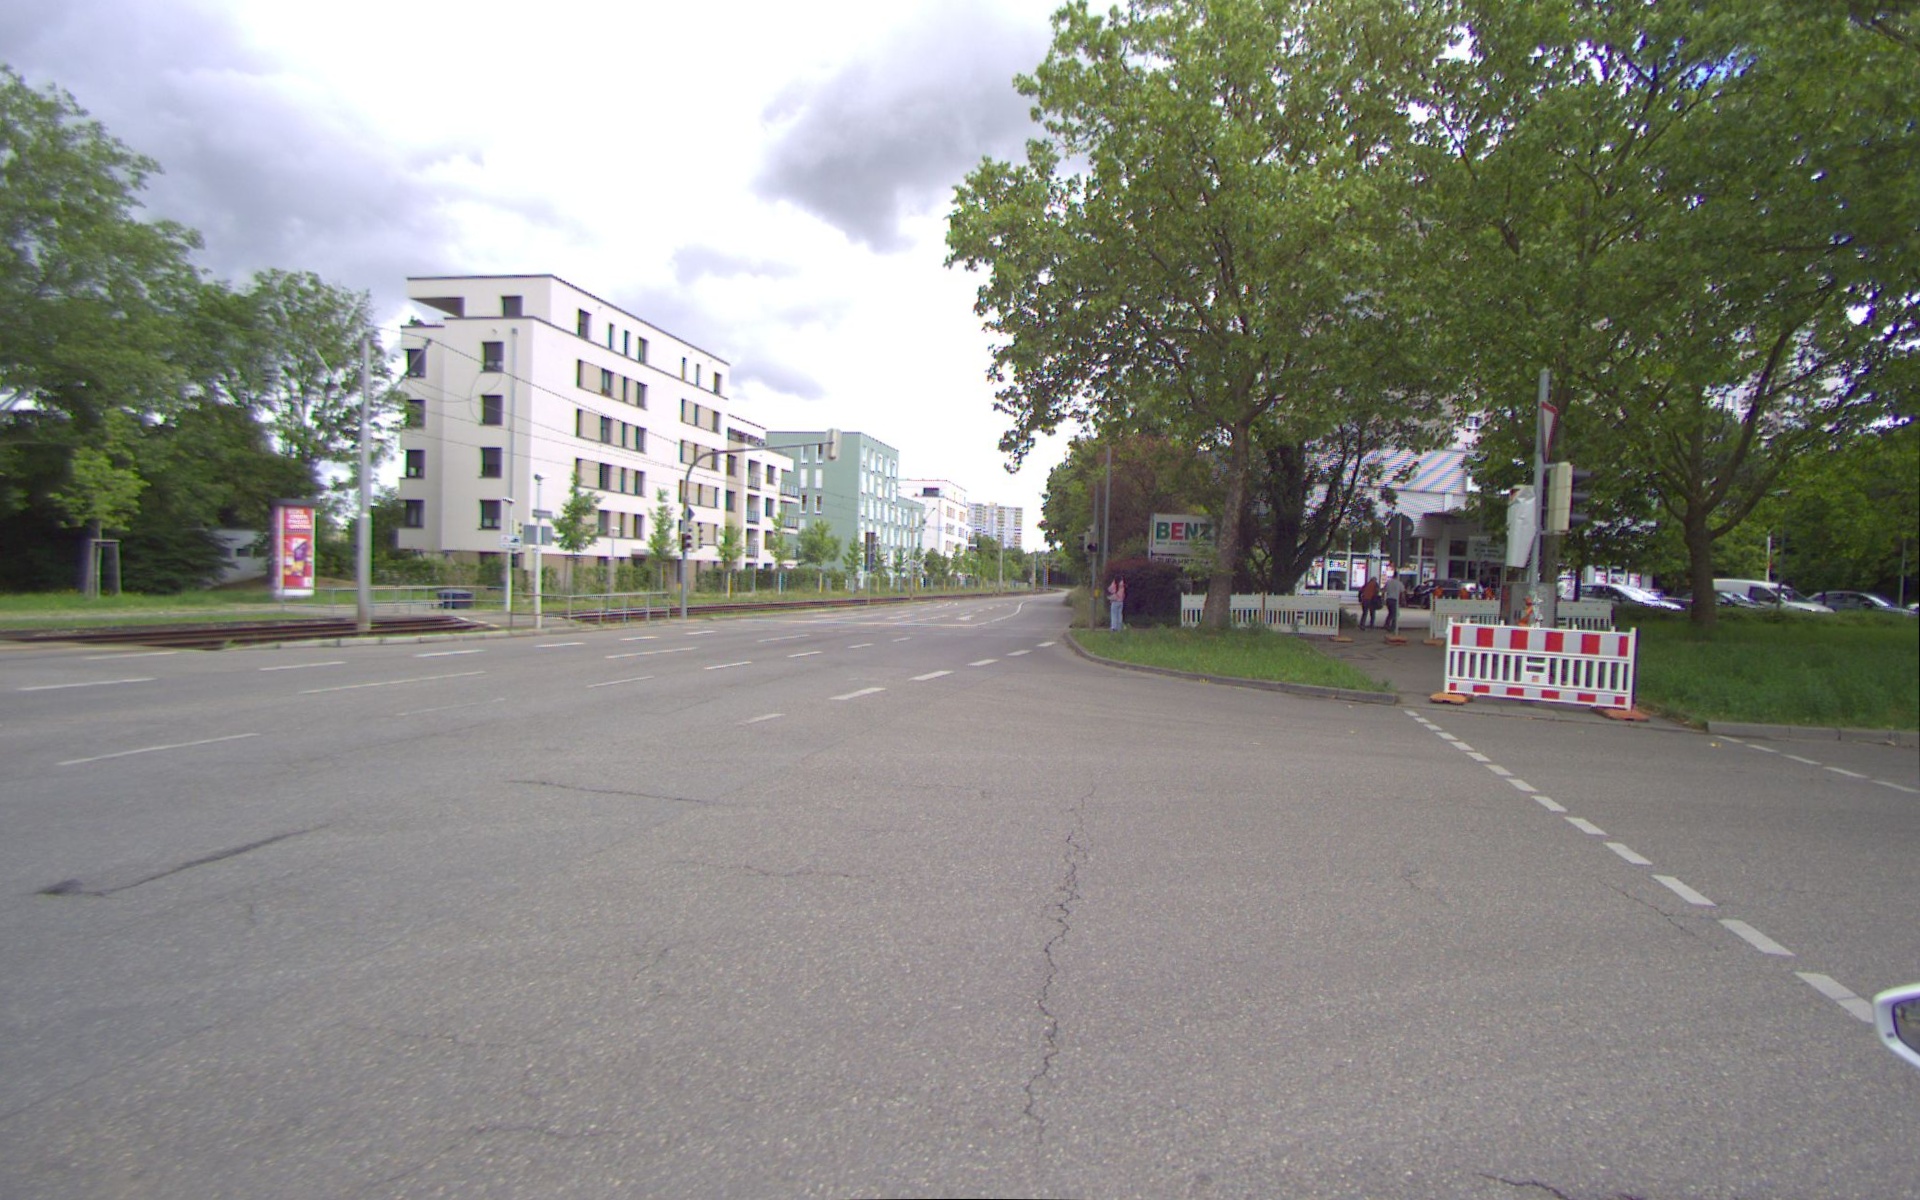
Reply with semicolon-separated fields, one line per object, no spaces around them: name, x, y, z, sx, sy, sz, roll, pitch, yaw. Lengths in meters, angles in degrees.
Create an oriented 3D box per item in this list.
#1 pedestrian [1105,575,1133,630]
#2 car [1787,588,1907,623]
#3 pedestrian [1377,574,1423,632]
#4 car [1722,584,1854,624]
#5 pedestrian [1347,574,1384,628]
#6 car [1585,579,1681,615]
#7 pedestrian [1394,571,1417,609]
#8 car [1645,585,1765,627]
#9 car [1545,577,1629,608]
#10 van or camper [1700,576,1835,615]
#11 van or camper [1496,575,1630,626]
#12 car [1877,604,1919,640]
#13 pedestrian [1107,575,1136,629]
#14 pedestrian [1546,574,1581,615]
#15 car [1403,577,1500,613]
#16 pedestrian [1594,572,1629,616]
pedestrian;4.509;0.064;28.459;0.674;1.509;0.700;2;1;17
car;35.683;0.206;40.499;1.668;1.272;3.236;2;0;-17
pedestrian;12.419;0.077;28.371;0.839;1.607;0.791;1;1;-23
car;32.820;0.126;39.946;1.461;1.485;3.878;2;0;-16
pedestrian;11.883;0.020;29.456;0.644;1.559;0.770;2;1;-16
car;34.086;-0.168;50.996;1.646;1.656;3.808;2;2;-16
pedestrian;20.833;-0.476;46.933;0.610;1.768;0.737;2;1;-14
car;27.526;0.194;37.224;1.460;1.423;3.397;2;0;-15
car;31.164;-0.393;50.016;1.461;1.423;3.396;2;0;-17
van or camper;30.636;-0.186;38.244;1.494;1.374;3.759;2;0;-19
van or camper;21.350;-0.025;35.745;1.814;1.706;3.989;1;1;-13
car;42.734;1.012;43.824;1.704;1.520;3.735;2;0;-12
pedestrian;4.707;0.059;29.211;0.706;1.509;0.699;2;1;18
pedestrian;29.066;-0.270;48.376;1.054;1.896;1.060;2;1;5
car;22.548;-0.257;46.291;1.704;1.520;4.258;2;0;-12
pedestrian;24.569;-0.218;37.893;0.780;1.607;0.800;2;1;6
